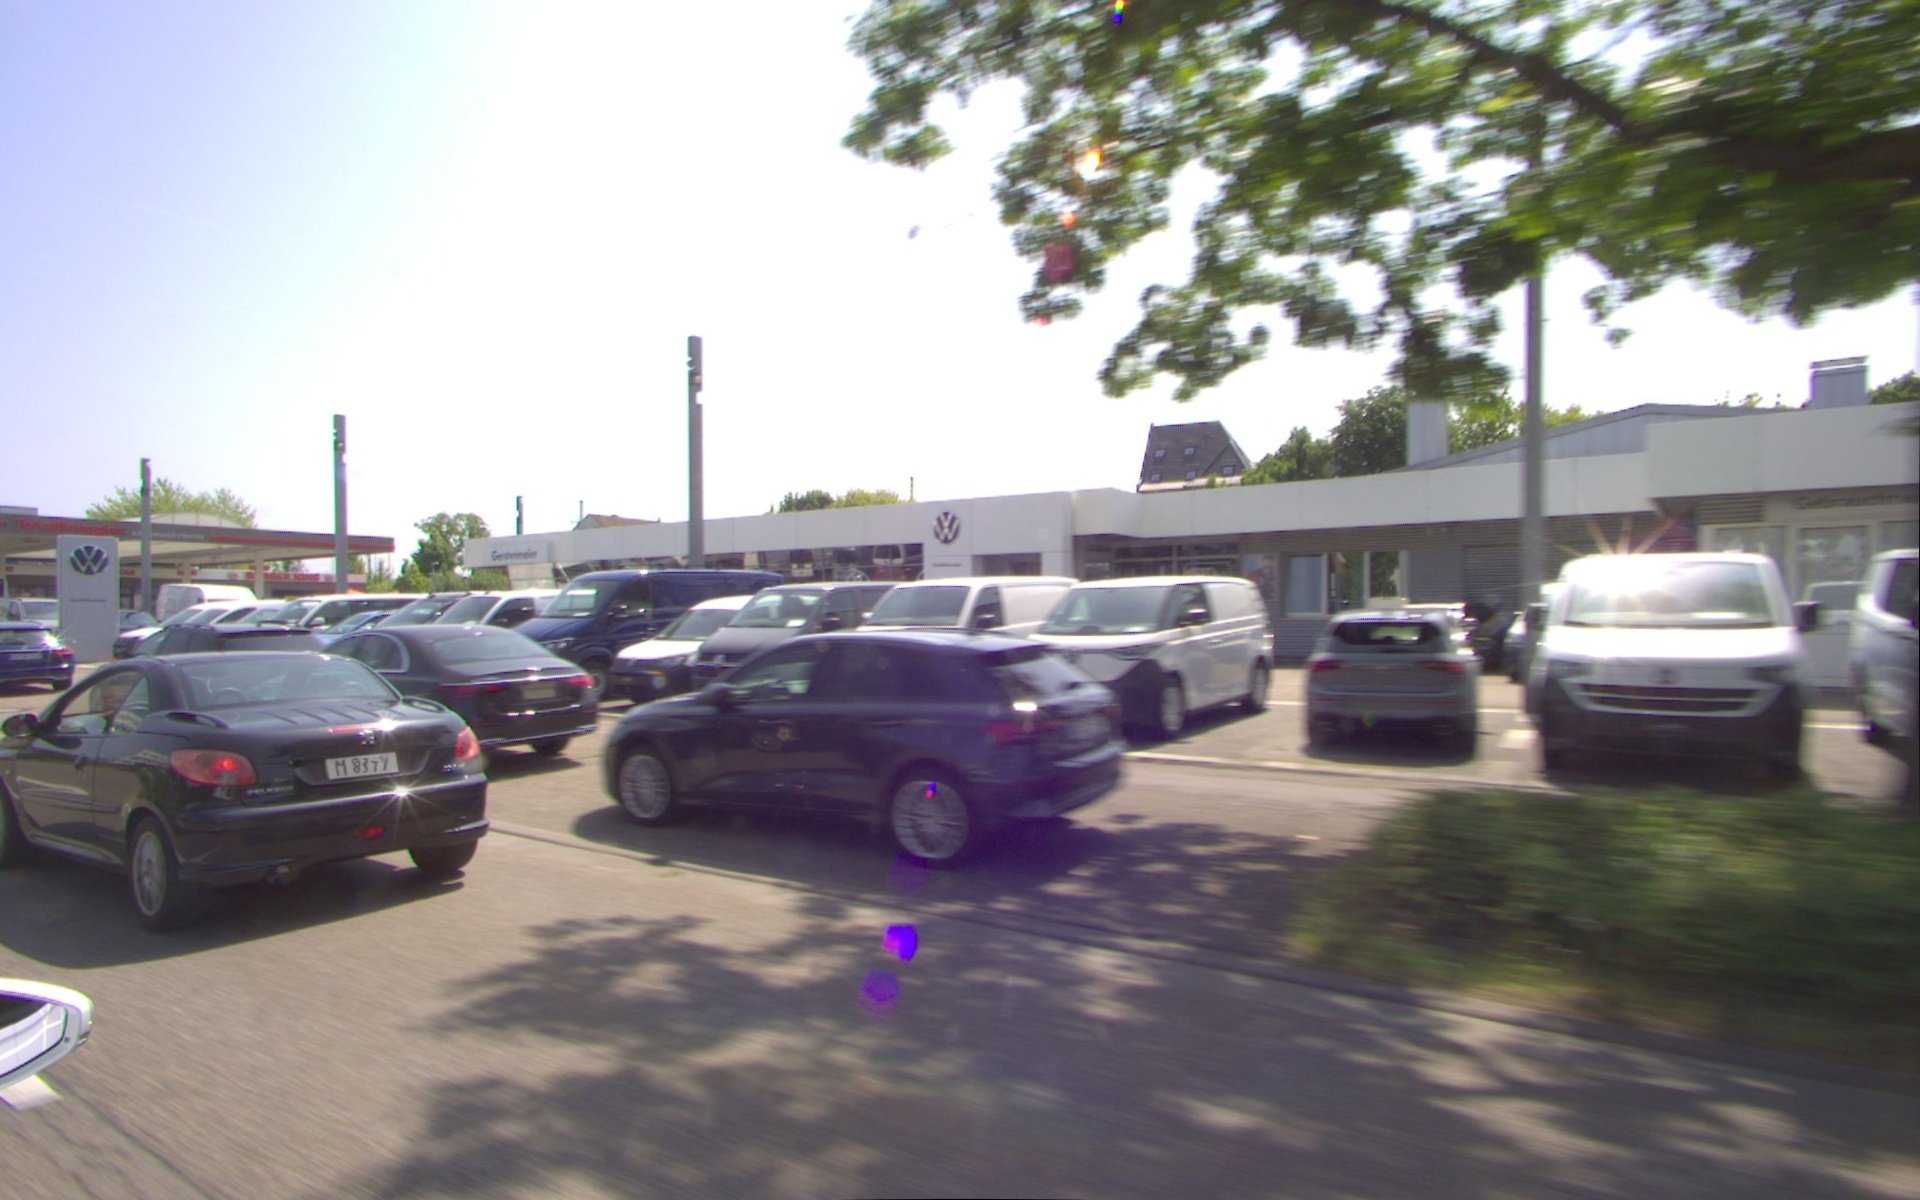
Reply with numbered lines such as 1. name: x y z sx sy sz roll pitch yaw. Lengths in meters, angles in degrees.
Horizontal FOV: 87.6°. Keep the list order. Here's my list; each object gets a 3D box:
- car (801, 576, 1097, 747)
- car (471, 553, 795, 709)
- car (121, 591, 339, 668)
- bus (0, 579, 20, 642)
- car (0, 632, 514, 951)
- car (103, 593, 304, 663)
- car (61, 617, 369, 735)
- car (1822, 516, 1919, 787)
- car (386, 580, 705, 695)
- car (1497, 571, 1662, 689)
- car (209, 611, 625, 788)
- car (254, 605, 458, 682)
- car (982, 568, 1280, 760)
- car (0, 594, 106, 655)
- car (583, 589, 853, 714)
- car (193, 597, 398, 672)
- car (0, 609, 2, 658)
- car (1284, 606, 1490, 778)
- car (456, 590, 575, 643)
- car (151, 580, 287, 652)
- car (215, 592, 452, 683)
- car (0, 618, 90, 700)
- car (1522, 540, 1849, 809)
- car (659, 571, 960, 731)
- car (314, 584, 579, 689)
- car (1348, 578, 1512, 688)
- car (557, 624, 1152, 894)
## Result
1. car: 0.067 0.740 15.088 2.011 2.125 5.052 -1 1 33
2. car: -6.052 0.661 19.372 2.176 2.555 5.828 -2 -3 36
3. car: -20.079 0.825 27.744 1.831 1.912 4.547 -2 -2 32
4. bus: -53.006 0.471 52.990 12.126 3.119 2.795 1 -1 38
5. car: -4.587 0.926 6.236 3.609 1.443 1.597 -1 -1 32
6. car: -22.294 0.790 29.704 1.882 1.907 4.404 0 -1 32
7. car: -11.096 1.020 14.809 5.080 1.500 1.852 -1 -1 31
8. car: 9.182 0.417 8.458 2.128 2.141 4.939 0 -1 32
9. car: -8.369 0.810 20.897 2.229 2.039 5.880 -1 -3 35
10. car: 11.702 0.471 18.766 2.074 1.897 4.488 -2 1 39
11. car: -6.260 0.945 11.321 5.089 1.551 1.955 -1 1 34
12. car: -13.641 0.981 22.759 1.695 1.590 3.617 -1 -3 39
13. car: 2.448 0.666 13.200 2.168 2.040 4.495 -2 1 34
14. car: -32.850 0.920 35.903 5.088 2.048 1.990 -1 -3 33
15. car: -4.056 0.766 17.572 1.924 1.876 4.557 0 1 32
16. car: -17.564 0.875 26.650 1.855 1.803 4.141 -3 -1 32
17. car: -34.236 1.130 33.895 4.548 1.617 1.663 0 0 34
18. car: 5.105 0.894 11.779 1.884 1.491 4.019 0 2 27
19. car: -22.994 0.840 51.680 6.974 2.589 2.250 0 0 34
20. car: -30.108 0.643 40.599 6.920 2.711 2.250 0 0 34
21. car: -15.405 0.825 24.897 1.931 2.041 4.631 0 1 31
22. car: -20.351 1.201 21.100 4.721 1.568 1.710 -1 -1 32
23. car: 7.062 0.574 10.087 2.112 1.997 4.901 -1 0 33
24. car: -2.189 0.673 16.045 2.098 2.143 4.889 0 1 32
25. car: -11.082 0.792 21.969 1.976 2.010 4.777 2 -1 34
26. car: 9.643 0.584 20.334 2.053 1.897 4.490 -2 1 38
27. car: -0.952 0.932 7.445 4.379 1.454 1.677 -1 -1 35
